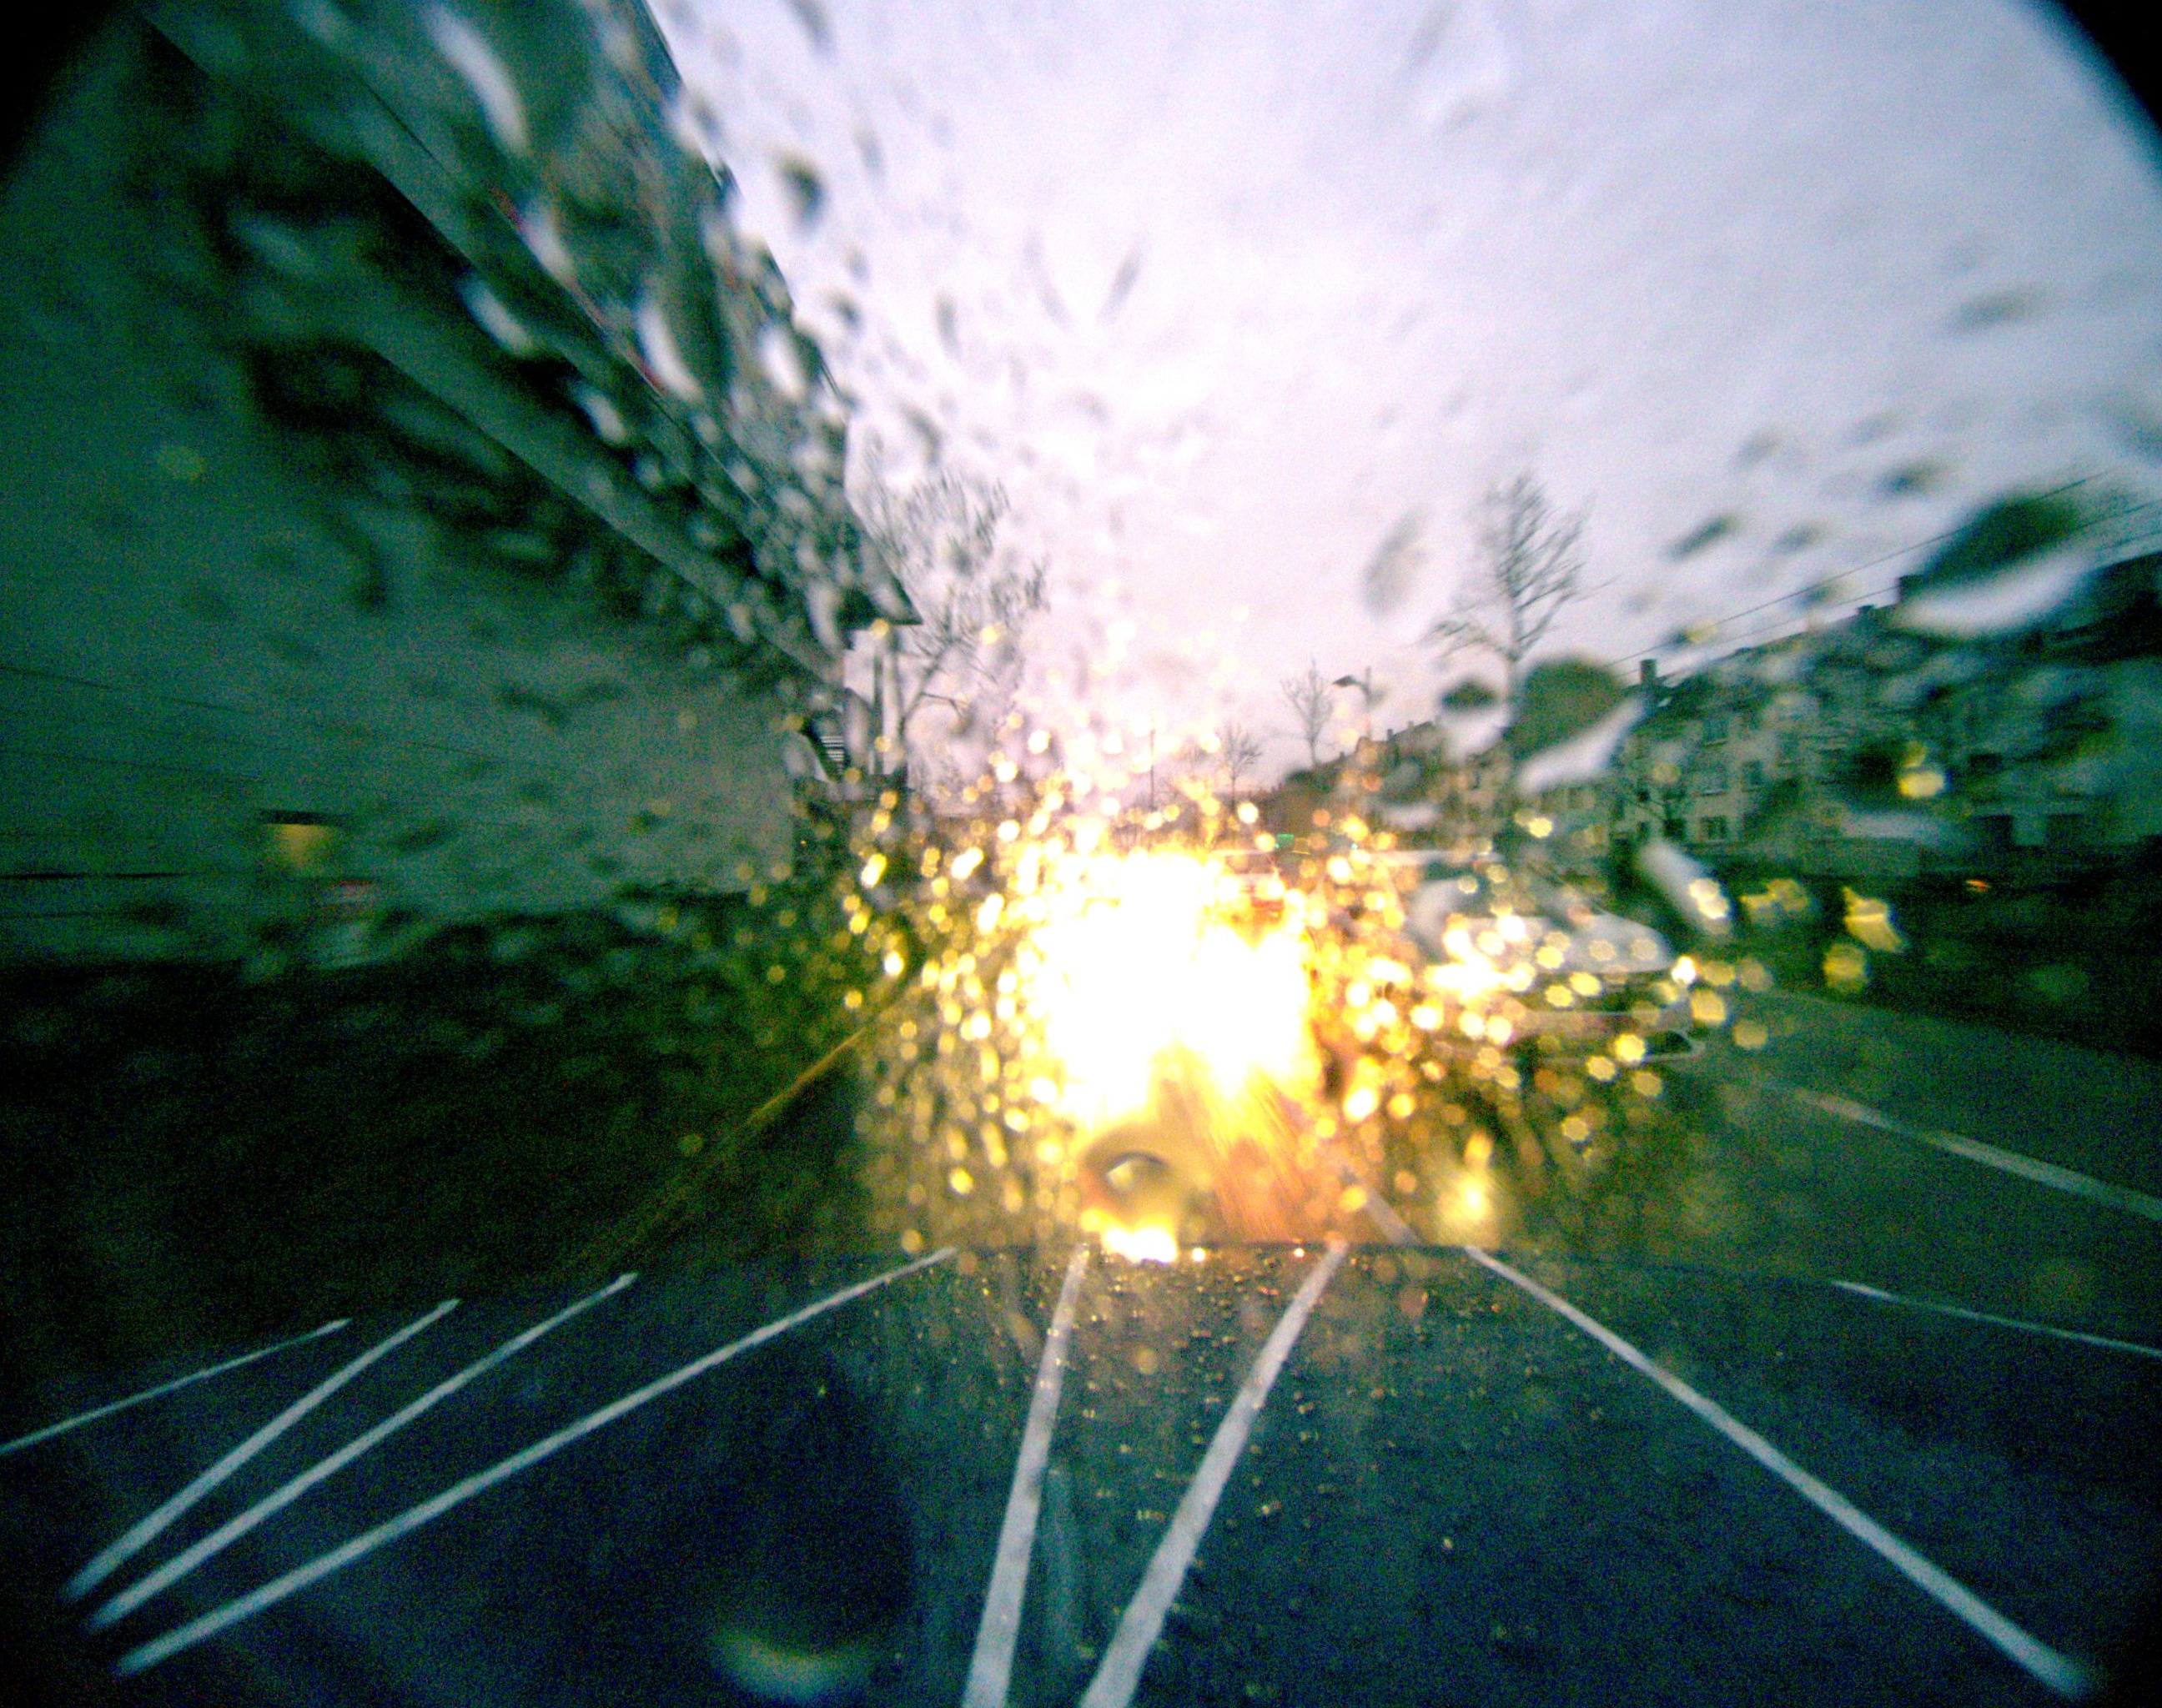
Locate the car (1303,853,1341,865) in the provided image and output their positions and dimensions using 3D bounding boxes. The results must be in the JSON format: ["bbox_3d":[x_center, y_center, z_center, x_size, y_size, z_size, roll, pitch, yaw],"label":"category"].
[{"bbox_3d":[30.359,0.615,95.837,4.095,1.154,1.715,-4,1,38],"label":"car"}]

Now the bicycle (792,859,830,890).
[{"bbox_3d":[-11.847,0.884,33.399,0.411,1.277,1.747,-2,0,27],"label":"bicycle"}]

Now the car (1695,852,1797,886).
[{"bbox_3d":[30.308,0.698,34.744,3.376,1.413,1.673,-2,0,38],"label":"car"}]

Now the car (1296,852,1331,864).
[{"bbox_3d":[30.209,0.563,98.926,4.034,1.223,1.350,-4,1,36],"label":"car"}]

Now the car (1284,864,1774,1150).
[{"bbox_3d":[3.007,0.881,6.201,1.692,1.465,4.001,-2,0,2],"label":"car"}]

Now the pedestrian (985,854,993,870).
[{"bbox_3d":[-10.470,0.892,86.779,0.673,1.767,0.615,-2,1,13],"label":"pedestrian"}]

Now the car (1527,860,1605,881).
[{"bbox_3d":[30.263,1.057,47.455,3.811,1.165,1.741,-3,0,41],"label":"car"}]

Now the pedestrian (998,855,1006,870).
[{"bbox_3d":[-8.615,0.916,82.658,0.673,1.603,0.615,-2,1,13],"label":"pedestrian"}]

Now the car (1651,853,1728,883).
[{"bbox_3d":[30.384,0.704,38.007,2.929,1.328,1.741,-3,0,39],"label":"car"}]

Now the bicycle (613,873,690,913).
[{"bbox_3d":[-11.566,1.047,20.468,1.814,1.045,0.397,0,0,-2],"label":"bicycle"}]

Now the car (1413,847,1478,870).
[{"bbox_3d":[30.509,0.358,63.643,4.646,1.713,1.837,-3,0,33],"label":"car"}]

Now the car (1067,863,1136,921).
[{"bbox_3d":[0.487,0.966,20.808,1.669,1.325,3.786,-2,0,-1],"label":"car"}]

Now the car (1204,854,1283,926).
[{"bbox_3d":[3.897,0.811,18.742,1.637,1.510,3.910,-2,0,9],"label":"car"}]

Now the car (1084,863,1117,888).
[{"bbox_3d":[1.086,1.209,44.062,1.737,1.311,3.803,-2,0,-1],"label":"car"}]

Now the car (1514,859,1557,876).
[{"bbox_3d":[30.236,0.904,50.558,2.386,1.042,1.440,-3,-1,32],"label":"car"}]

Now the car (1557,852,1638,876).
[{"bbox_3d":[30.281,0.593,44.597,3.833,1.238,1.741,-3,0,34],"label":"car"}]

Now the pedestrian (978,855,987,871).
[{"bbox_3d":[-10.461,0.969,80.398,0.673,1.615,0.615,-2,1,15],"label":"pedestrian"}]

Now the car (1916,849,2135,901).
[{"bbox_3d":[30.505,0.703,24.754,4.151,1.532,1.673,-2,0,36],"label":"car"}]

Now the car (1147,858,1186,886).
[{"bbox_3d":[5.004,1.039,44.731,1.905,1.475,3.656,-2,0,1],"label":"car"}]

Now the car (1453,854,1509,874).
[{"bbox_3d":[30.236,0.745,57.402,3.571,1.301,1.689,-3,0,32],"label":"car"}]
